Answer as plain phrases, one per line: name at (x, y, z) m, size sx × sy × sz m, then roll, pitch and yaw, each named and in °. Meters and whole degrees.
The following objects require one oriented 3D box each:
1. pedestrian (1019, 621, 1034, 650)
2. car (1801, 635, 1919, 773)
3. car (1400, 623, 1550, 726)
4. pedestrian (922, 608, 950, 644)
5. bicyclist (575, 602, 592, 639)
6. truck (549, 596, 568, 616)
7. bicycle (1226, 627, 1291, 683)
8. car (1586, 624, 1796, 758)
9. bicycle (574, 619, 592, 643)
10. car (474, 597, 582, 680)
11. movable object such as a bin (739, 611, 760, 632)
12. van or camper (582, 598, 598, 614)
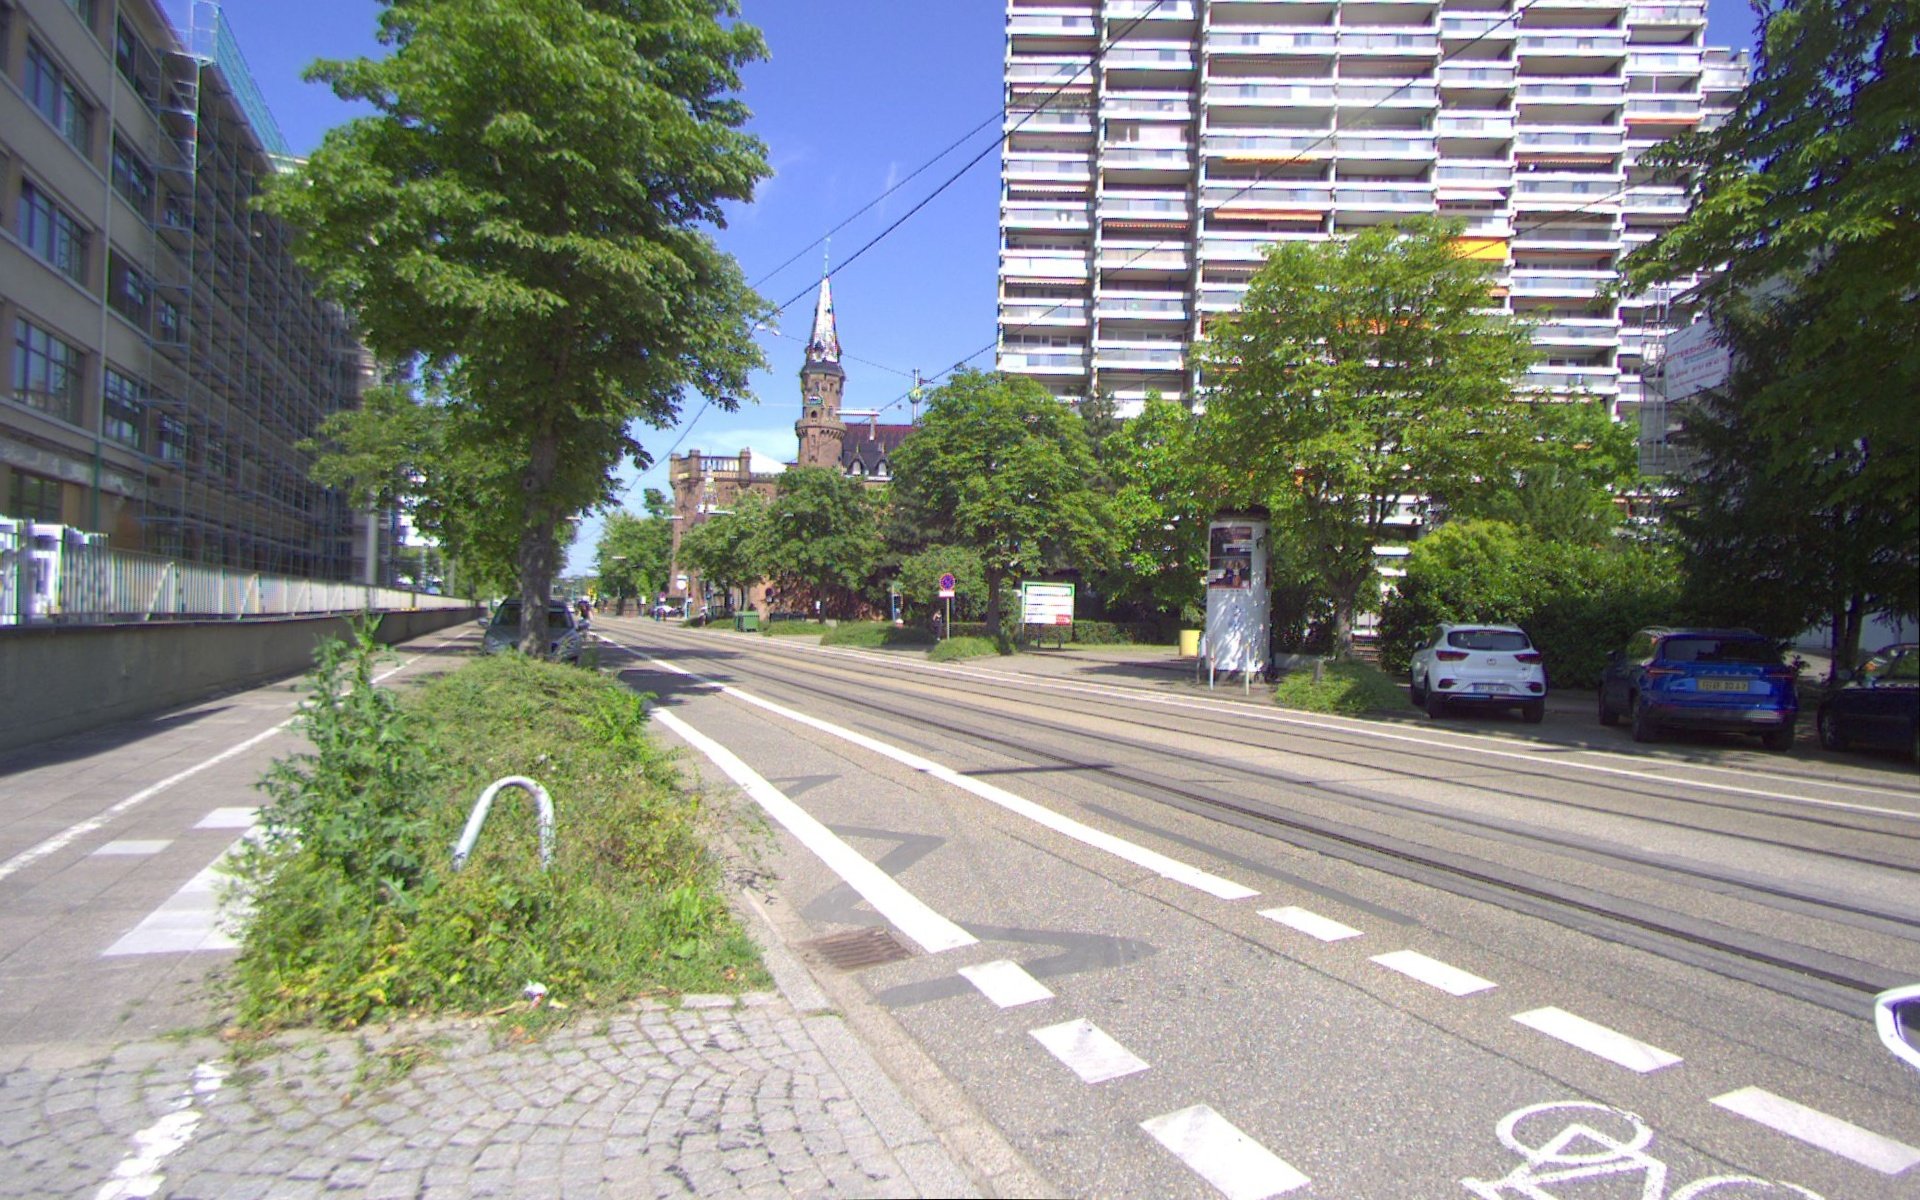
pedestrian at (2.780, 1.482, 42.175) m, size 0.524 × 1.169 × 0.701 m, roll 2°, pitch -1°, yaw -2°
car at (11.949, 1.238, 12.196) m, size 1.545 × 1.551 × 3.459 m, roll 2°, pitch -1°, yaw 20°
car at (9.108, 1.248, 18.065) m, size 1.783 × 1.627 × 3.946 m, roll 0°, pitch -2°, yaw 18°
pedestrian at (-1.289, 1.384, 53.060) m, size 1.044 × 1.821 × 1.259 m, roll 4°, pitch -1°, yaw -20°
bicyclist at (-16.874, 0.912, 45.011) m, size 0.624 × 1.628 × 0.697 m, roll 3°, pitch -1°, yaw -26°
truck at (-62.464, 0.950, 156.263) m, size 2.531 × 2.977 × 5.050 m, roll 2°, pitch -1°, yaw -23°
bicycle at (7.559, 1.382, 25.504) m, size 0.540 × 1.326 × 1.608 m, roll 3°, pitch -1°, yaw -29°
car at (10.697, 1.216, 15.006) m, size 1.747 × 1.644 × 3.942 m, roll 1°, pitch 0°, yaw 24°
bicycle at (-16.878, 1.386, 44.992) m, size 0.589 × 1.020 × 1.477 m, roll 3°, pitch -1°, yaw -26°
car at (-8.926, 0.756, 20.730) m, size 1.796 × 1.514 × 4.083 m, roll 3°, pitch -1°, yaw -24°
movable object such as a bin at (-14.933, 1.519, 71.317) m, size 1.246 × 1.472 × 1.075 m, roll 3°, pitch -1°, yaw -19°
van or camper at (-64.760, 0.984, 175.571) m, size 2.023 × 2.654 × 5.825 m, roll 3°, pitch -1°, yaw -25°
